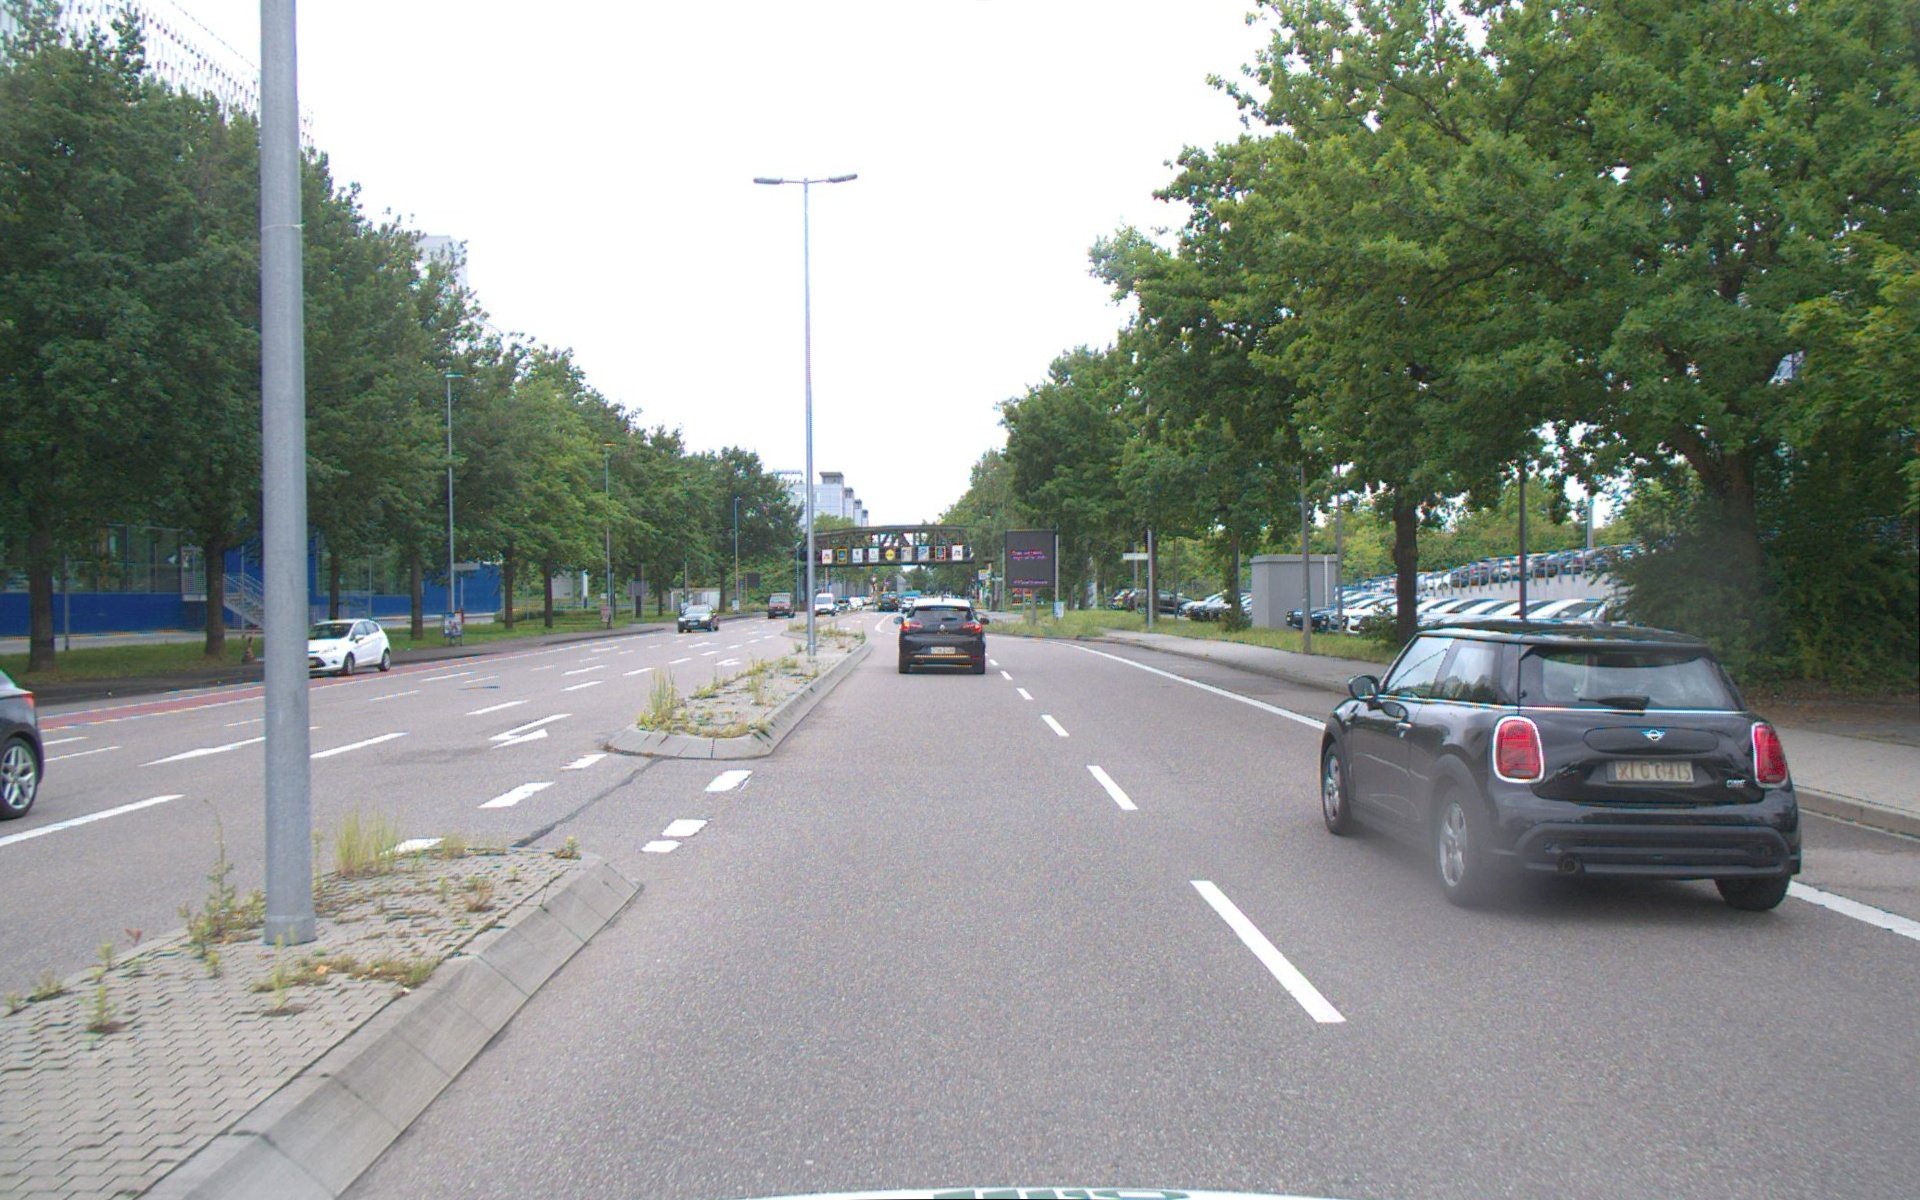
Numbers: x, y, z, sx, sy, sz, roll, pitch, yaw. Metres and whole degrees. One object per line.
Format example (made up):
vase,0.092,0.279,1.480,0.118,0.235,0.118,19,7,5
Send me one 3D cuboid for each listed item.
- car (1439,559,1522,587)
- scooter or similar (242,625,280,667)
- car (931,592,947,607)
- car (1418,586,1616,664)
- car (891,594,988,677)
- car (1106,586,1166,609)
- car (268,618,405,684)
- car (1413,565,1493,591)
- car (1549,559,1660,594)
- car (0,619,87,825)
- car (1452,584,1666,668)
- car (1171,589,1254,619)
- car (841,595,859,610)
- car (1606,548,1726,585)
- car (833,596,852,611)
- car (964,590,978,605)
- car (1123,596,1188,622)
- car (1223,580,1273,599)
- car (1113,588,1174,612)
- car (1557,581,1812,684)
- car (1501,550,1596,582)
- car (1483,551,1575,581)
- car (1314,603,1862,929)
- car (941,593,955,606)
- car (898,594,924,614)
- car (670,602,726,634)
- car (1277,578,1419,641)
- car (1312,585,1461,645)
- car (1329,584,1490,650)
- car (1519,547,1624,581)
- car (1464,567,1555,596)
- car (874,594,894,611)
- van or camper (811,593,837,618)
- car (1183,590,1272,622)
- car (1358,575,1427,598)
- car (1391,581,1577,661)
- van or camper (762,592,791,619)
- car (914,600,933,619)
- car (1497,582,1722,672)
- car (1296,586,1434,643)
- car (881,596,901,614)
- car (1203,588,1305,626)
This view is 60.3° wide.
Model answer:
car,28.491,-1.484,90.654,4.003,1.460,1.730,0,2,-2
scooter or similar,-21.458,1.400,50.761,0.642,1.217,1.377,1,0,-3
car,-2.688,-0.062,213.751,1.910,1.847,4.001,0,2,1
car,13.586,0.590,40.532,4.097,1.511,1.977,4,2,-1
car,-0.345,0.646,32.820,1.720,1.459,4.001,-1,1,2
car,11.688,-0.159,109.835,3.902,1.460,1.732,1,2,5
car,-16.701,1.336,44.509,1.818,1.487,4.334,-2,1,3
car,28.546,-1.300,95.836,4.115,1.460,1.730,0,2,-2
car,29.269,-1.067,75.184,4.248,1.522,1.970,0,2,-2
car,-8.005,0.967,11.274,1.819,1.487,4.331,-2,1,-1
car,13.700,0.568,37.976,4.112,1.511,1.959,4,2,-2
car,13.062,0.194,85.617,4.003,1.460,1.730,0,2,-2
car,-13.307,0.288,200.545,1.900,1.705,3.783,0,2,1
car,29.731,-1.411,69.700,4.248,1.522,1.881,0,2,-2
car,-12.920,0.394,182.298,1.718,1.471,3.340,0,2,1
car,1.535,-0.358,231.328,1.910,1.847,4.001,0,2,1
car,11.969,0.542,101.404,3.902,1.460,1.732,1,2,5
car,23.538,-0.890,135.220,3.902,1.460,1.732,1,2,5
car,11.903,-0.038,107.484,3.902,1.460,1.732,1,2,5
car,14.188,0.619,32.544,4.124,1.511,1.825,6,2,-2
car,28.579,-1.672,80.377,4.003,1.522,1.730,0,2,-2
car,28.551,-1.719,83.017,4.003,1.460,1.730,0,2,-2
car,3.316,0.781,9.523,1.749,1.440,3.643,0,1,0
car,-1.791,-0.107,249.739,1.910,1.847,4.001,0,2,1
car,-4.495,0.393,152.143,2.091,1.690,3.783,0,2,1
car,-13.865,0.931,87.638,1.877,1.528,4.254,-3,0,5
car,13.707,0.309,58.583,4.458,1.731,2.000,5,2,0
car,13.773,0.466,53.571,4.207,1.530,2.029,5,1,0
car,13.802,0.520,50.997,4.305,1.546,2.000,5,2,0
car,28.715,-1.708,77.744,4.248,1.522,1.881,0,2,-2
car,28.446,-0.970,85.678,4.003,1.460,1.946,0,2,-2
car,-8.203,0.292,178.737,1.845,1.690,3.783,0,2,1
van or camper,-10.908,0.412,132.858,1.720,1.777,4.406,-4,1,-1
car,13.077,0.282,80.893,4.003,1.460,1.822,0,2,-2
car,28.236,-0.891,108.044,4.003,1.460,1.730,0,2,-2
car,13.572,0.522,43.000,4.091,1.691,2.000,4,2,0
van or camper,-14.338,0.423,129.471,1.837,2.021,4.888,-2,1,-1
car,-3.957,1.038,181.923,1.910,1.847,4.001,0,2,1
car,13.835,0.554,35.373,3.982,1.511,1.819,5,2,-2
car,13.665,0.470,55.981,4.091,1.470,1.960,5,2,0
car,-7.725,0.508,185.414,1.910,1.847,4.001,0,2,1
car,13.471,0.312,75.916,4.256,1.529,1.929,3,0,-2
